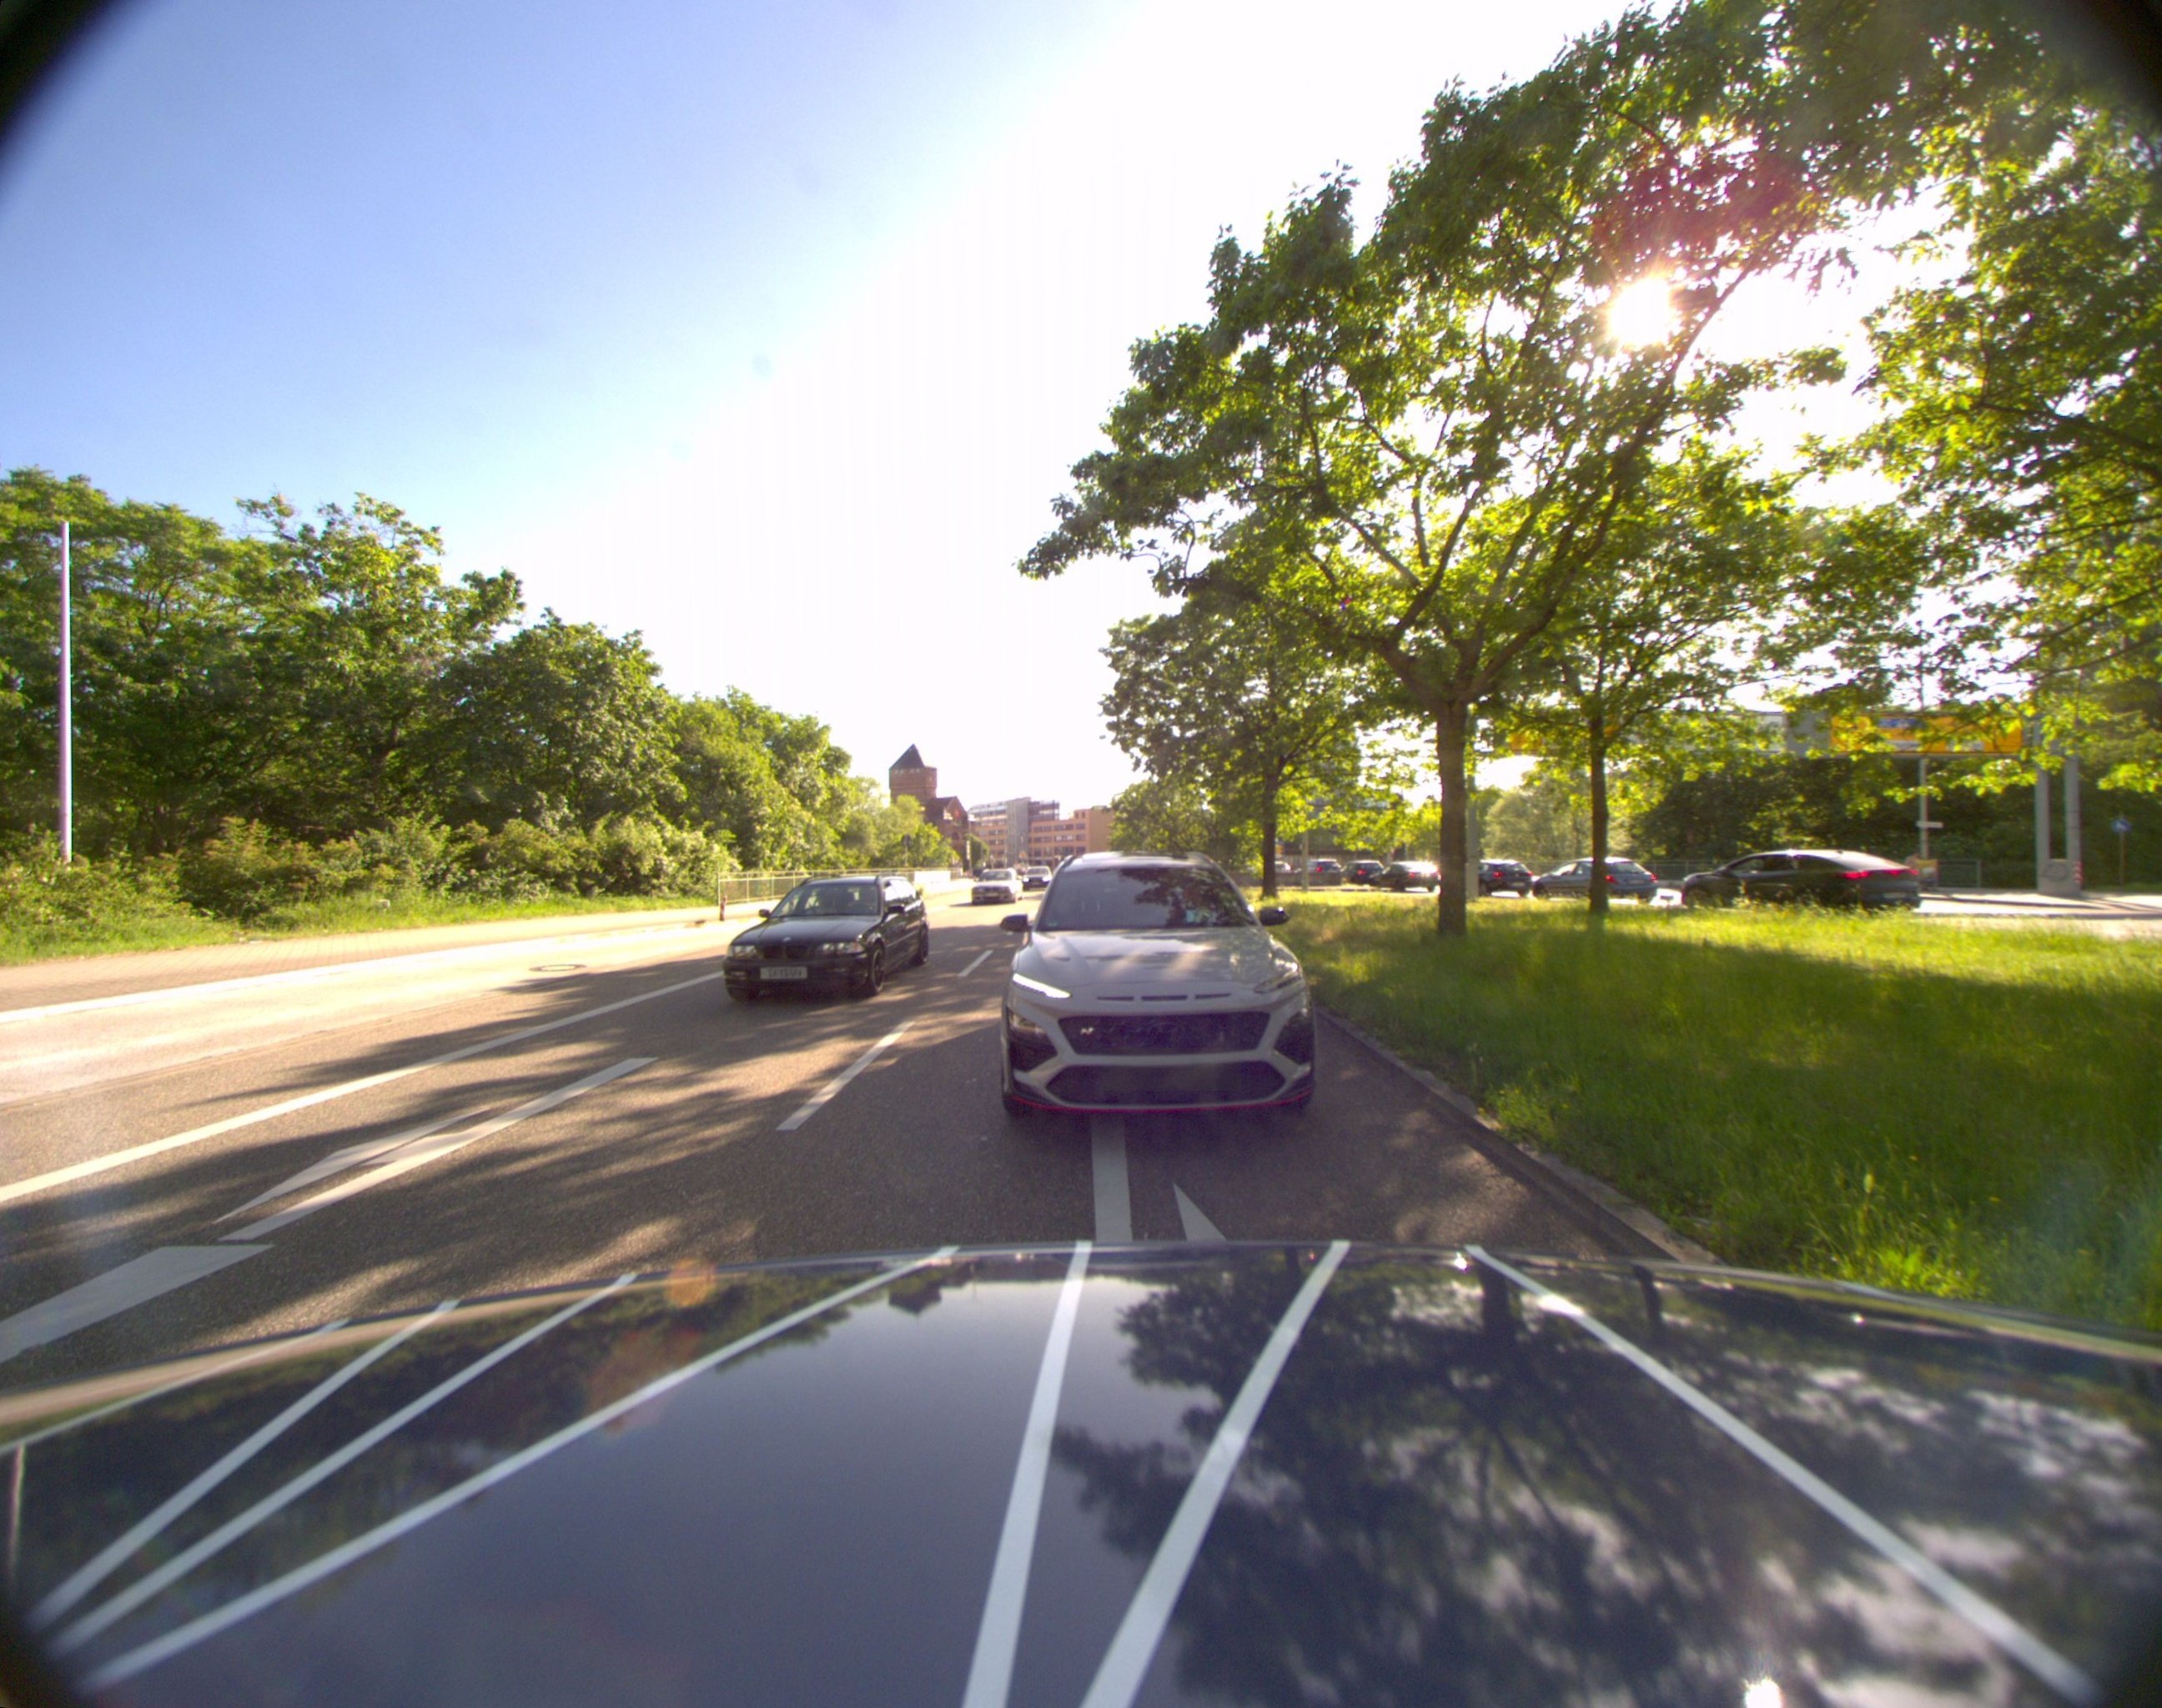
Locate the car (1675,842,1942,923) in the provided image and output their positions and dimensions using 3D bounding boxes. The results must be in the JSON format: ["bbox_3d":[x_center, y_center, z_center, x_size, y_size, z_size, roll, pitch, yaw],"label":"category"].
[{"bbox_3d":[16.780,0.604,17.916,1.832,1.638,4.458,-1,0,-5],"label":"car"}]

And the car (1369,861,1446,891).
[{"bbox_3d":[15.469,0.995,36.223,1.623,1.305,4.066,-1,0,-6],"label":"car"}]

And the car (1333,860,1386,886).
[{"bbox_3d":[15.145,1.031,41.479,1.481,1.331,3.202,-1,-1,-6],"label":"car"}]

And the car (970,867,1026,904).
[{"bbox_3d":[-3.319,1.243,31.152,1.785,1.411,4.001,-1,-1,1],"label":"car"}]

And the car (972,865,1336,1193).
[{"bbox_3d":[0.382,0.884,5.696,1.752,1.523,3.988,-1,0,1],"label":"car"}]

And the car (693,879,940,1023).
[{"bbox_3d":[-3.246,1.115,10.331,1.776,1.395,4.318,-1,0,1],"label":"car"}]

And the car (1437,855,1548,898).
[{"bbox_3d":[16.181,0.844,30.150,1.875,1.541,4.221,-1,0,-4],"label":"car"}]

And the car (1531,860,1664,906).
[{"bbox_3d":[16.377,0.880,24.313,1.561,1.355,3.608,-1,-1,-6],"label":"car"}]

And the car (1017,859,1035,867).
[{"bbox_3d":[-13.981,2.388,192.684,2.177,2.001,5.400,-1,0,-36],"label":"car"}]

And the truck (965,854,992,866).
[{"bbox_3d":[-28.806,1.739,213.277,3.535,3.231,9.141,-1,0,-36],"label":"truck"}]

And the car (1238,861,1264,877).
[{"bbox_3d":[13.937,1.278,62.327,1.199,1.252,2.768,-1,-2,-6],"label":"car"}]

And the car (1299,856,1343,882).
[{"bbox_3d":[14.963,0.990,47.554,1.450,1.549,3.202,-1,-2,-6],"label":"car"}]

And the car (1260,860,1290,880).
[{"bbox_3d":[14.314,1.205,56.131,1.228,1.331,2.882,-1,-3,-6],"label":"car"}]

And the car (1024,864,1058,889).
[{"bbox_3d":[-2.356,1.330,45.849,1.785,1.411,4.001,-1,-1,1],"label":"car"}]

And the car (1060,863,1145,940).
[{"bbox_3d":[0.455,0.960,17.136,1.677,1.463,4.151,-1,0,1],"label":"car"}]
